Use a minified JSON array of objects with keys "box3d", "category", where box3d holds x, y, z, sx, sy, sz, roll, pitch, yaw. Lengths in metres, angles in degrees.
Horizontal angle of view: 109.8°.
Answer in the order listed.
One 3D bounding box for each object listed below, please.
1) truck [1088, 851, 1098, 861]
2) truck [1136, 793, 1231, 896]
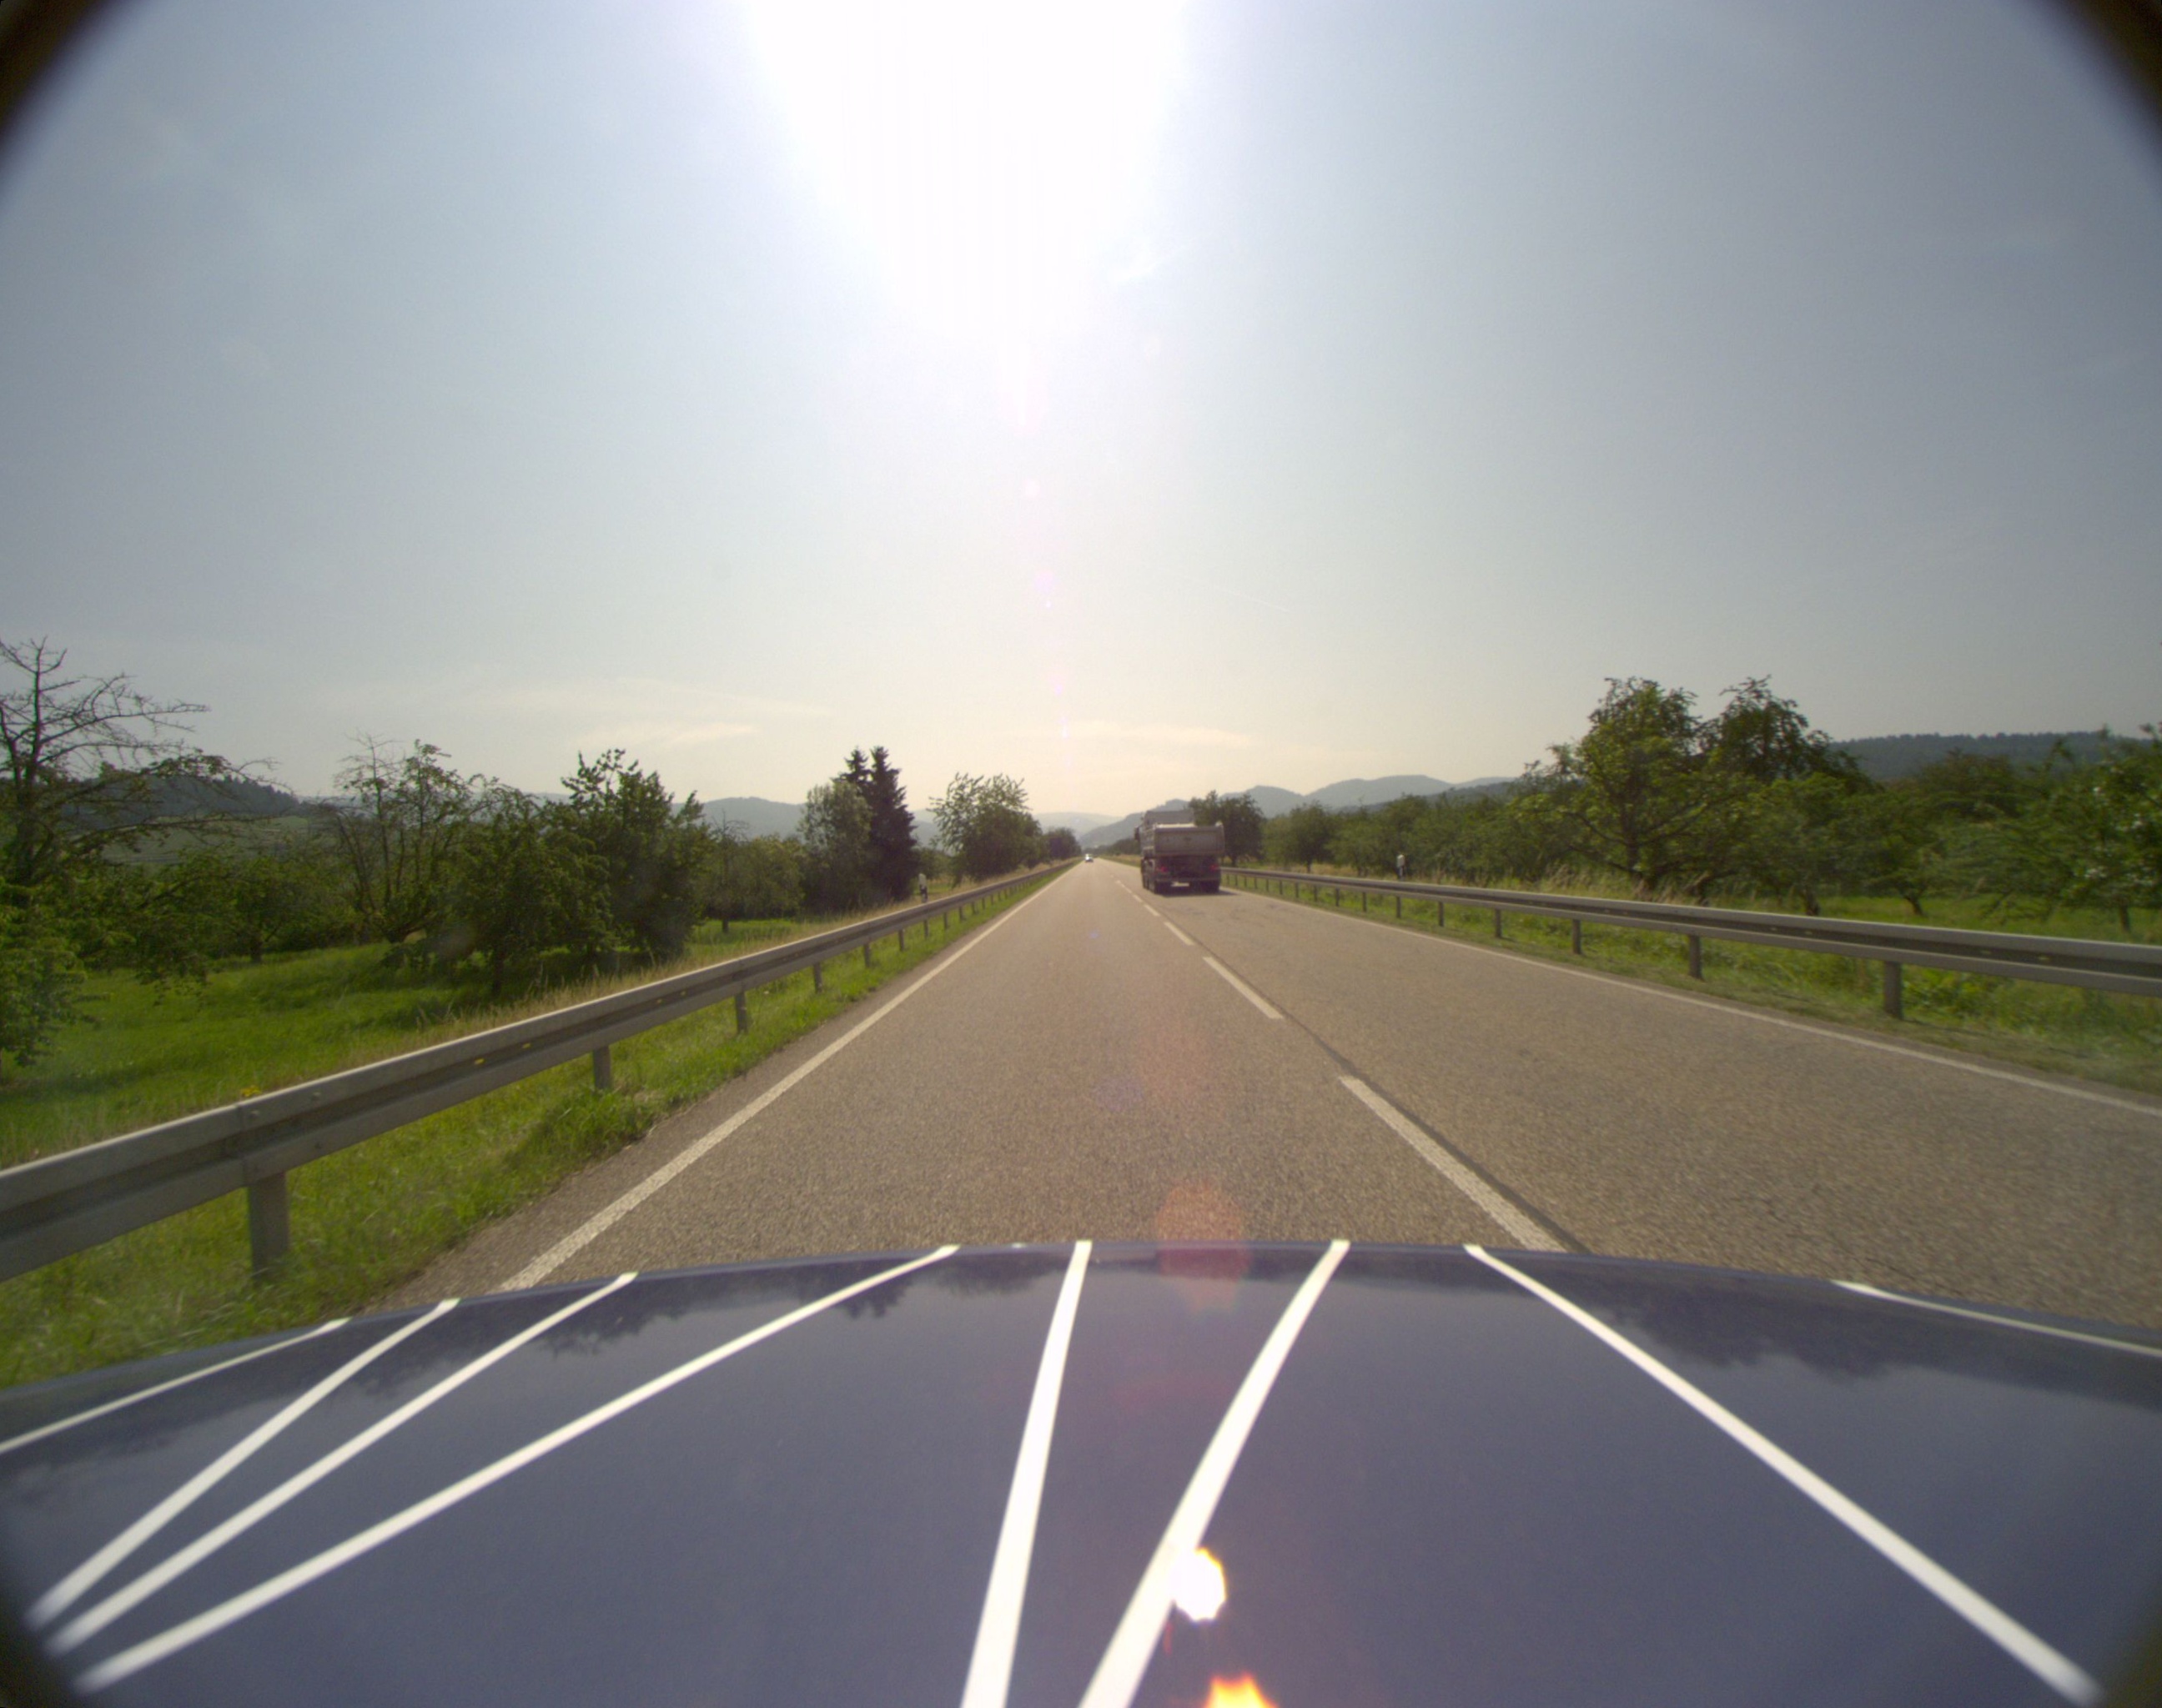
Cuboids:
[{"box3d":[2.825,0.452,179.008,2.031,2.232,4.764,-2,1,1],"category":"truck"},{"box3d":[4.041,-0.403,32.198,2.735,3.651,9.382,-2,1,1],"category":"truck"}]
